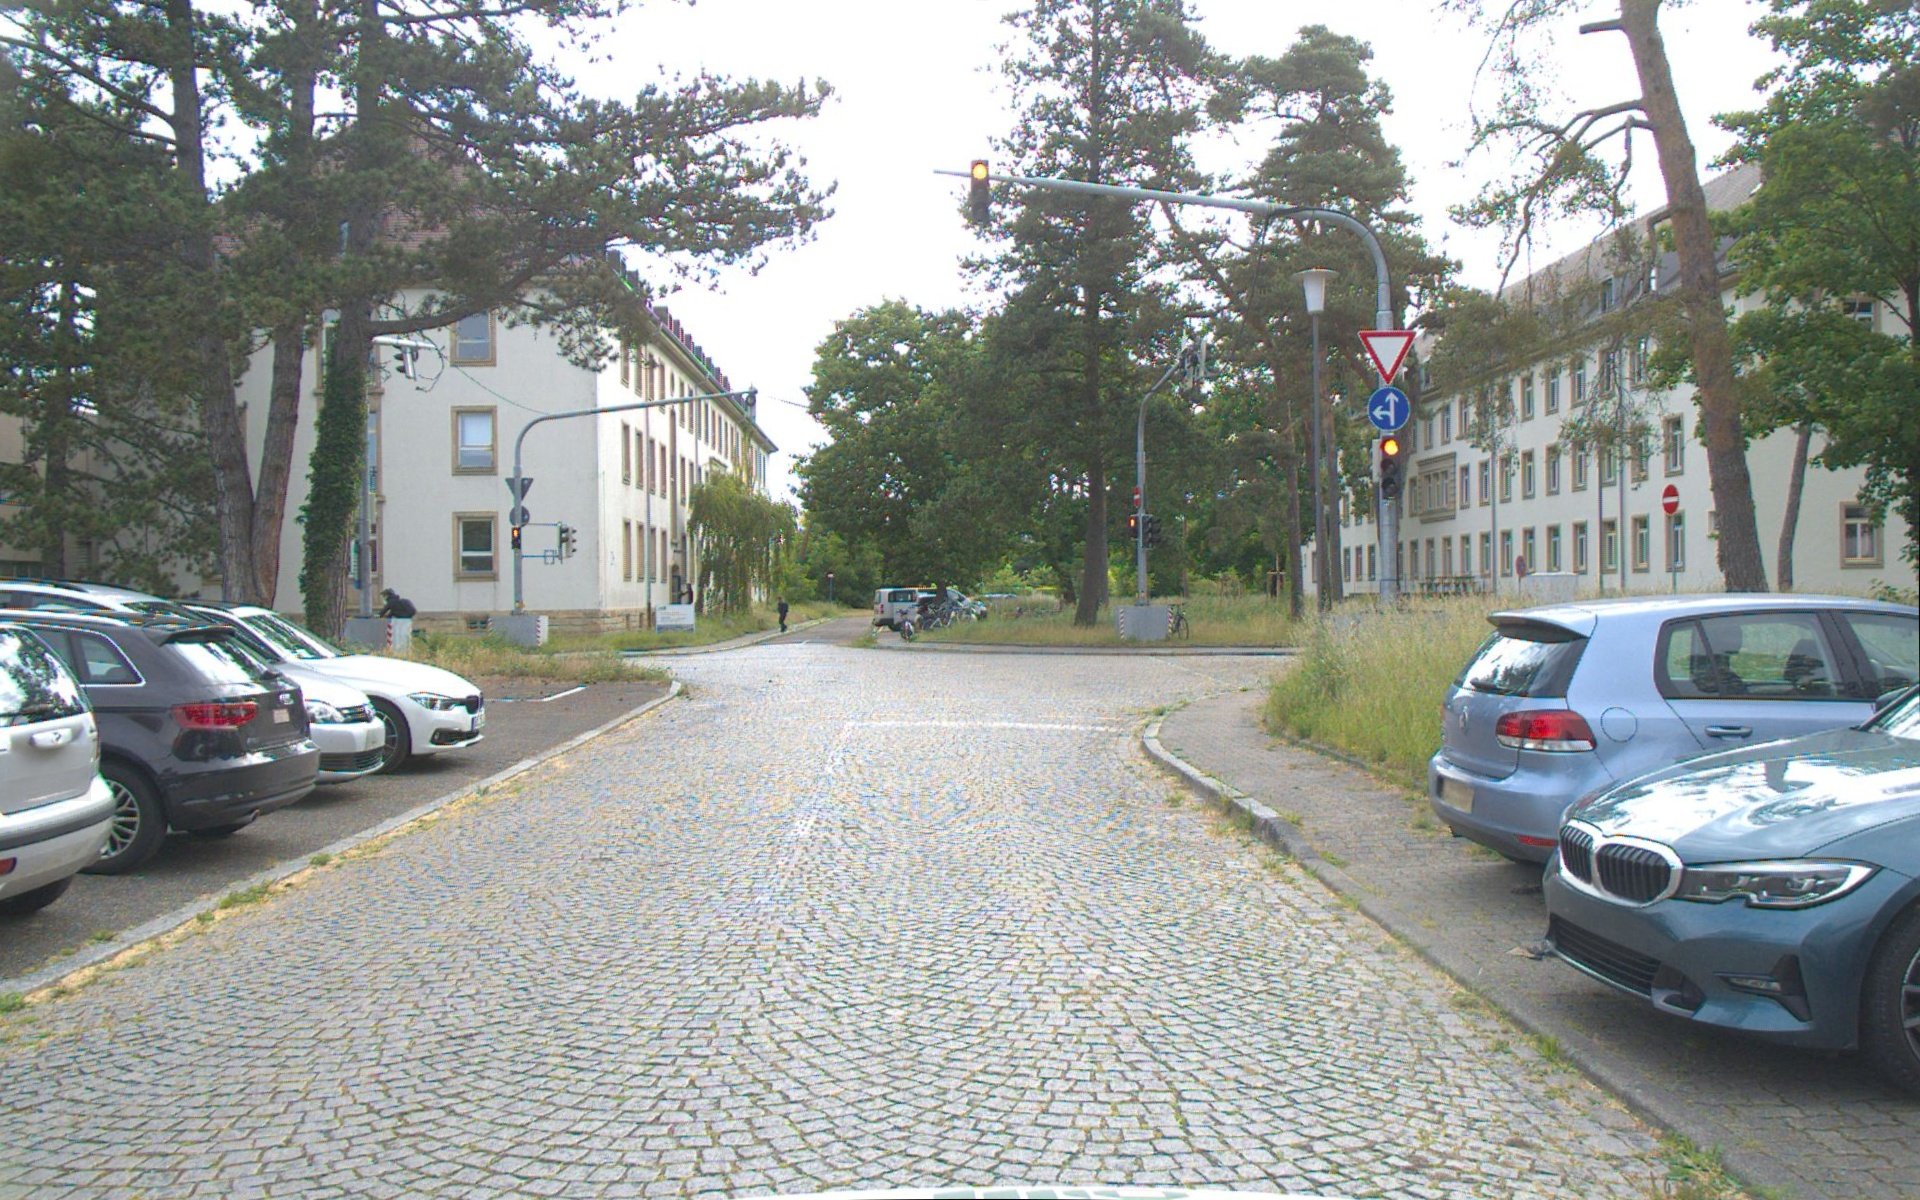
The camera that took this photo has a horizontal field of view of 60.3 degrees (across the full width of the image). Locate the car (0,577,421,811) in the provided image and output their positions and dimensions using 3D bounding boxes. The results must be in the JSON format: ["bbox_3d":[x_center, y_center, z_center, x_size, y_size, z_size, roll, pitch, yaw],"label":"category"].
[{"bbox_3d":[-6.328,0.658,12.619,3.870,1.590,1.648,2,0,-5],"label":"car"}]

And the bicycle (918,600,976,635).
[{"bbox_3d":[-0.457,0.604,57.103,1.919,1.152,0.587,-1,0,-9],"label":"bicycle"}]

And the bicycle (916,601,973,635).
[{"bbox_3d":[-0.539,0.627,57.733,1.919,1.136,0.587,-1,0,-9],"label":"bicycle"}]

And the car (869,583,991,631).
[{"bbox_3d":[-1.379,0.294,75.161,5.265,1.958,2.020,-2,0,-11],"label":"car"}]

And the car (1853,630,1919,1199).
[{"bbox_3d":[4.357,0.702,3.198,4.339,1.441,1.868,-3,0,-8],"label":"car"}]

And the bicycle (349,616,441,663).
[{"bbox_3d":[-13.092,0.914,38.350,1.915,1.042,0.605,-1,0,-2],"label":"bicycle"}]

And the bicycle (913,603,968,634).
[{"bbox_3d":[-0.688,0.649,59.212,1.936,1.088,0.581,-1,0,-32],"label":"bicycle"}]

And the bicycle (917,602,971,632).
[{"bbox_3d":[-0.597,0.630,61.920,1.931,1.088,0.583,-1,0,-27],"label":"bicycle"}]

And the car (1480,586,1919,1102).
[{"bbox_3d":[4.487,0.648,5.965,4.589,1.441,1.869,-3,0,-4],"label":"car"}]

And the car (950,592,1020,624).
[{"bbox_3d":[1.181,0.372,79.131,3.168,1.441,1.723,-1,0,-5],"label":"car"}]

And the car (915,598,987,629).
[{"bbox_3d":[-0.404,0.572,71.830,2.949,1.290,1.533,-1,0,-8],"label":"car"}]

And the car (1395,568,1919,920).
[{"bbox_3d":[4.377,0.622,8.412,3.847,1.503,1.642,-3,0,0],"label":"car"}]

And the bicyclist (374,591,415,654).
[{"bbox_3d":[-13.100,0.519,38.347,0.734,1.435,0.605,-1,0,-2],"label":"bicyclist"}]

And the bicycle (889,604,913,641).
[{"bbox_3d":[-1.934,0.731,53.854,0.591,1.152,1.958,-1,0,-7],"label":"bicycle"}]

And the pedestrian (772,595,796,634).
[{"bbox_3d":[-7.581,0.636,71.201,0.758,1.647,0.741,-1,0,23],"label":"pedestrian"}]

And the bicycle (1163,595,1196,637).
[{"bbox_3d":[5.979,0.430,45.213,0.574,1.125,1.961,-1,0,-2],"label":"bicycle"}]

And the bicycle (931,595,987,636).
[{"bbox_3d":[-0.035,0.538,58.582,1.919,1.408,0.587,-1,0,-9],"label":"bicycle"}]

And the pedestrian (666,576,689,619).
[{"bbox_3d":[-12.381,-0.100,72.431,0.767,1.869,0.732,-1,0,-33],"label":"pedestrian"}]

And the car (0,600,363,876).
[{"bbox_3d":[-5.694,0.746,9.855,3.673,1.453,1.581,2,0,-5],"label":"car"}]

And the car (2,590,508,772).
[{"bbox_3d":[-6.318,0.706,15.156,3.869,1.446,1.649,2,0,-3],"label":"car"}]

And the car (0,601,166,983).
[{"bbox_3d":[-5.711,0.726,7.256,3.630,1.505,1.581,2,0,-5],"label":"car"}]
